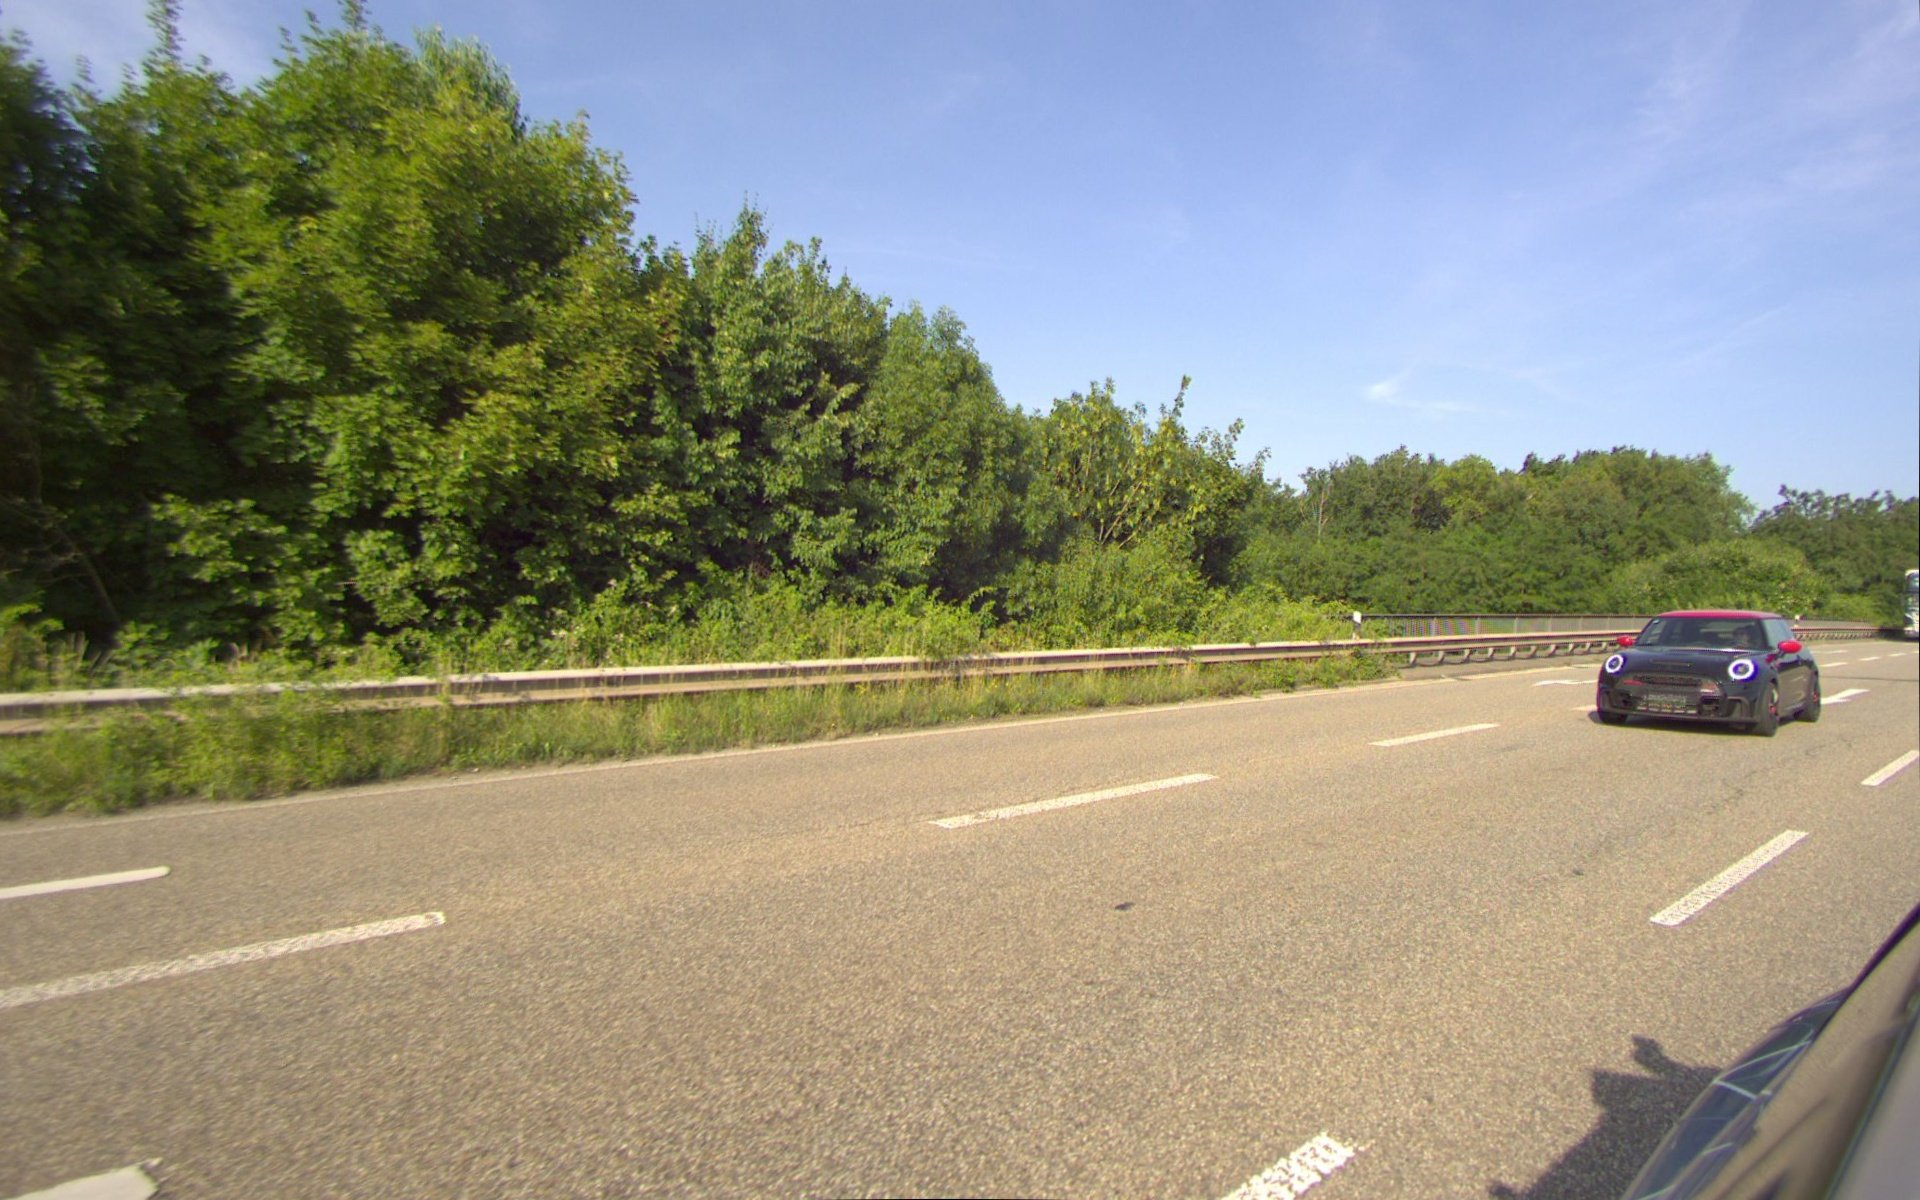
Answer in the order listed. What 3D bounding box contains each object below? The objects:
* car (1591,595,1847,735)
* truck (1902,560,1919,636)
[{"bbox_3d":[9.709,0.694,12.852,3.805,1.486,1.823,-1,0,-40],"label":"car"},{"bbox_3d":[57.493,-0.193,58.281,14.308,4.069,3.194,-1,0,-41],"label":"truck"}]
